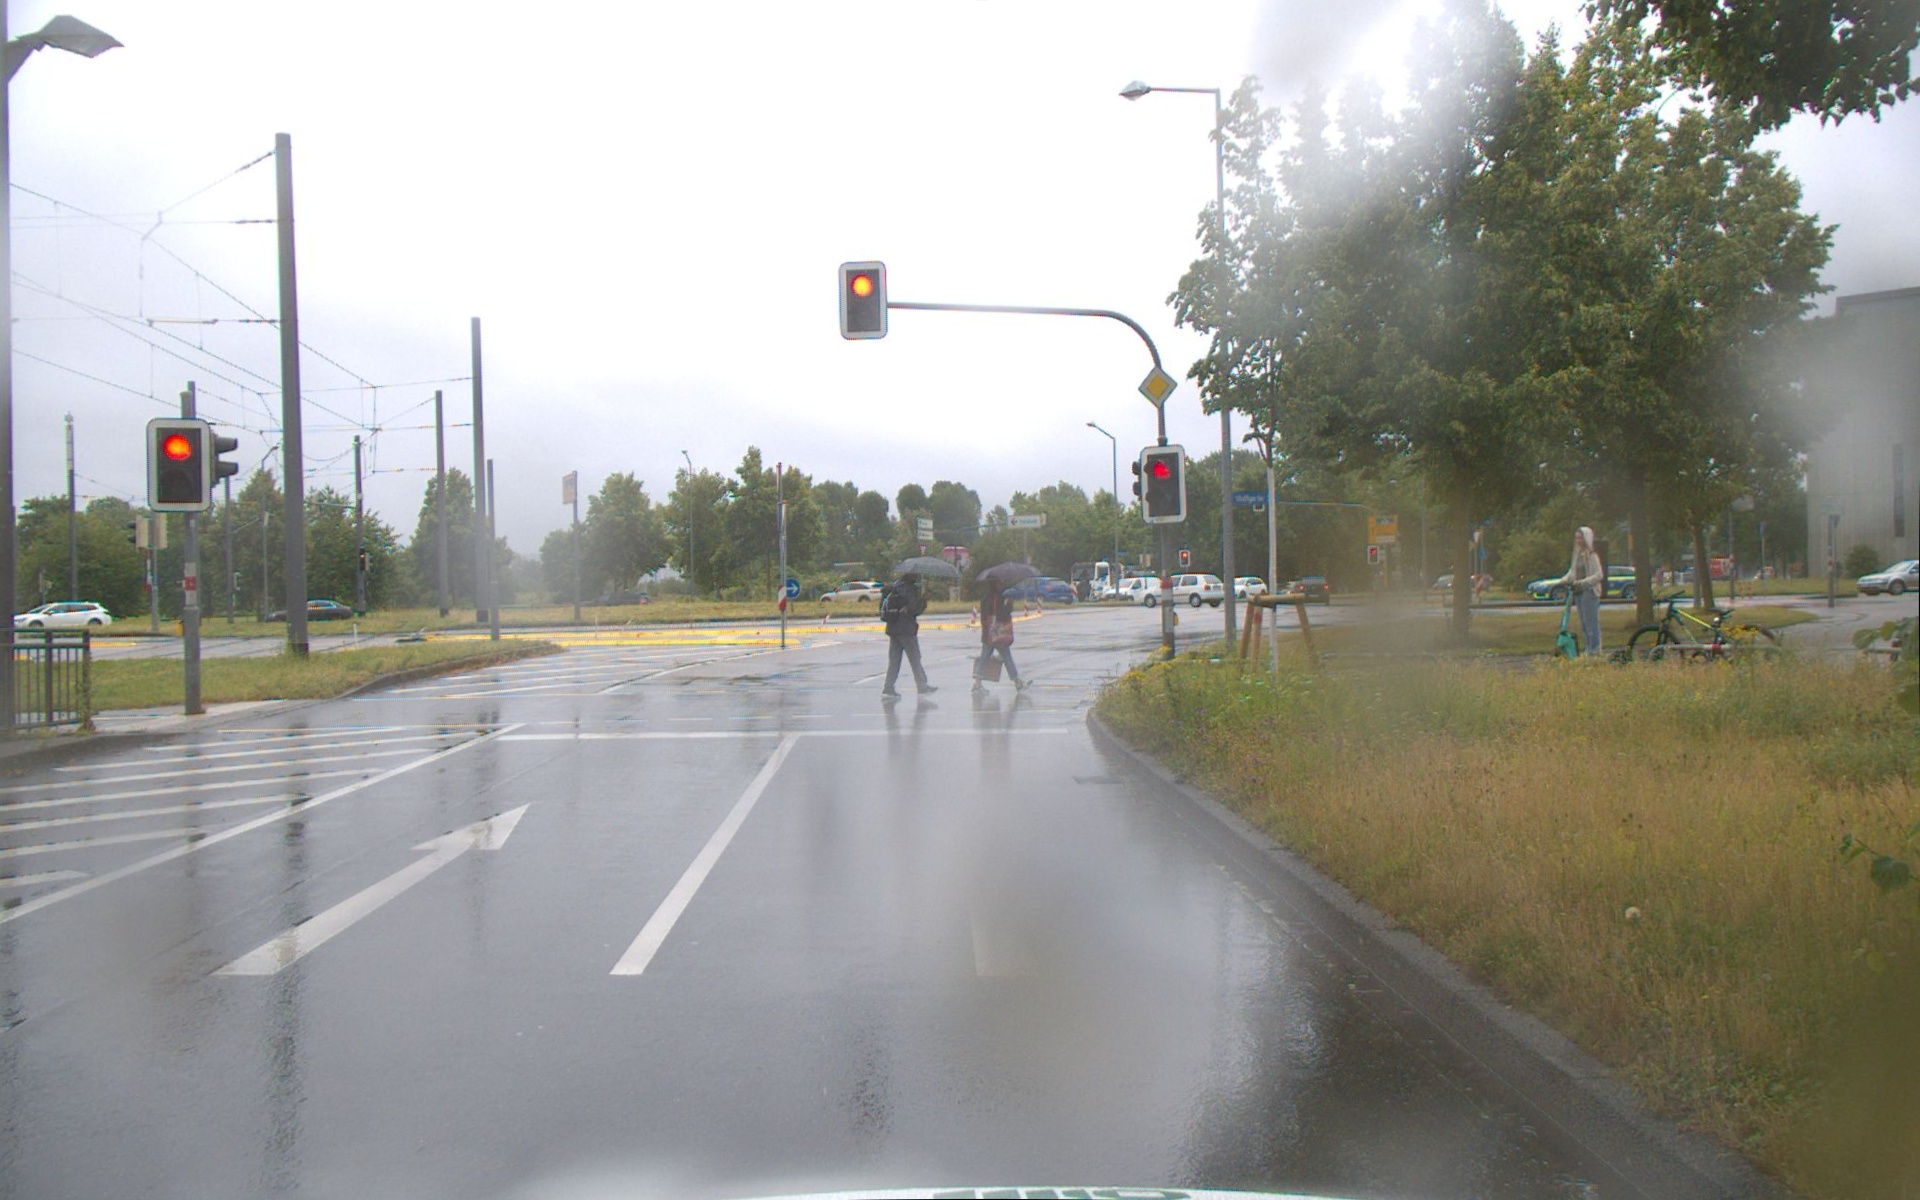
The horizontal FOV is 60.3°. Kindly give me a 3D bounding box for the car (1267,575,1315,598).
[{"bbox_3d":[25.807,-1.057,128.831,1.768,1.691,4.387,-1,0,39],"label":"car"}]

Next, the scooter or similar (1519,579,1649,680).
[{"bbox_3d":[8.166,0.389,21.641,1.555,1.281,0.447,1,-1,-7],"label":"scooter or similar"}]

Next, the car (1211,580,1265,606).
[{"bbox_3d":[19.414,-0.495,115.299,1.768,1.691,4.386,1,-1,39],"label":"car"}]

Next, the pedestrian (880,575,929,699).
[{"bbox_3d":[-0.715,0.463,21.215,0.608,1.549,0.741,1,0,-3],"label":"pedestrian"}]

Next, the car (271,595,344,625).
[{"bbox_3d":[-35.999,0.546,91.252,3.444,1.570,1.602,1,-1,-36],"label":"car"}]

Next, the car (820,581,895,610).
[{"bbox_3d":[-5.506,-0.222,88.799,4.038,1.479,1.614,-1,1,41],"label":"car"}]

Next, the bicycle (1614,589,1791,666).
[{"bbox_3d":[8.079,0.282,18.078,0.376,0.800,1.837,1,-1,-34],"label":"bicycle"}]

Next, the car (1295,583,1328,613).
[{"bbox_3d":[18.057,-0.105,85.024,1.583,1.479,3.991,-1,1,11],"label":"car"}]

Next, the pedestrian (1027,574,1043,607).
[{"bbox_3d":[3.071,-0.397,68.076,0.445,1.327,0.484,-1,0,38],"label":"pedestrian"}]

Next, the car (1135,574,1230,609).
[{"bbox_3d":[9.772,-0.384,72.842,3.915,1.479,1.614,-1,1,41],"label":"car"}]

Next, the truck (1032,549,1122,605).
[{"bbox_3d":[6.289,-1.160,87.756,2.411,2.733,8.058,1,-1,22],"label":"truck"}]

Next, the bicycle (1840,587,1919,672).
[{"bbox_3d":[9.221,0.279,15.489,0.445,0.800,1.999,1,0,-17],"label":"bicycle"}]

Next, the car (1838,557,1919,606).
[{"bbox_3d":[38.277,-0.727,66.689,4.661,1.884,2.001,1,-1,2],"label":"car"}]

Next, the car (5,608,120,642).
[{"bbox_3d":[-42.221,1.165,77.903,1.588,1.479,4.612,-1,1,31],"label":"car"}]

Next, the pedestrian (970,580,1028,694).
[{"bbox_3d":[0.521,0.491,22.255,0.667,1.486,0.573,-2,-1,-6],"label":"pedestrian"}]

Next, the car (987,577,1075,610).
[{"bbox_3d":[3.354,-0.297,78.148,3.907,1.479,1.618,-1,1,36],"label":"car"}]

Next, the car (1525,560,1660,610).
[{"bbox_3d":[25.201,-0.592,66.022,4.659,1.883,2.002,-1,0,6],"label":"car"}]

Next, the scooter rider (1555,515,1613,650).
[{"bbox_3d":[8.169,-0.228,21.660,0.521,1.739,0.433,-2,0,-7],"label":"scooter rider"}]

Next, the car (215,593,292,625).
[{"bbox_3d":[-41.379,0.538,96.979,1.644,1.847,3.994,1,-1,28],"label":"car"}]

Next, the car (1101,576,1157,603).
[{"bbox_3d":[11.290,-0.681,110.201,1.768,1.691,4.113,1,-1,40],"label":"car"}]
